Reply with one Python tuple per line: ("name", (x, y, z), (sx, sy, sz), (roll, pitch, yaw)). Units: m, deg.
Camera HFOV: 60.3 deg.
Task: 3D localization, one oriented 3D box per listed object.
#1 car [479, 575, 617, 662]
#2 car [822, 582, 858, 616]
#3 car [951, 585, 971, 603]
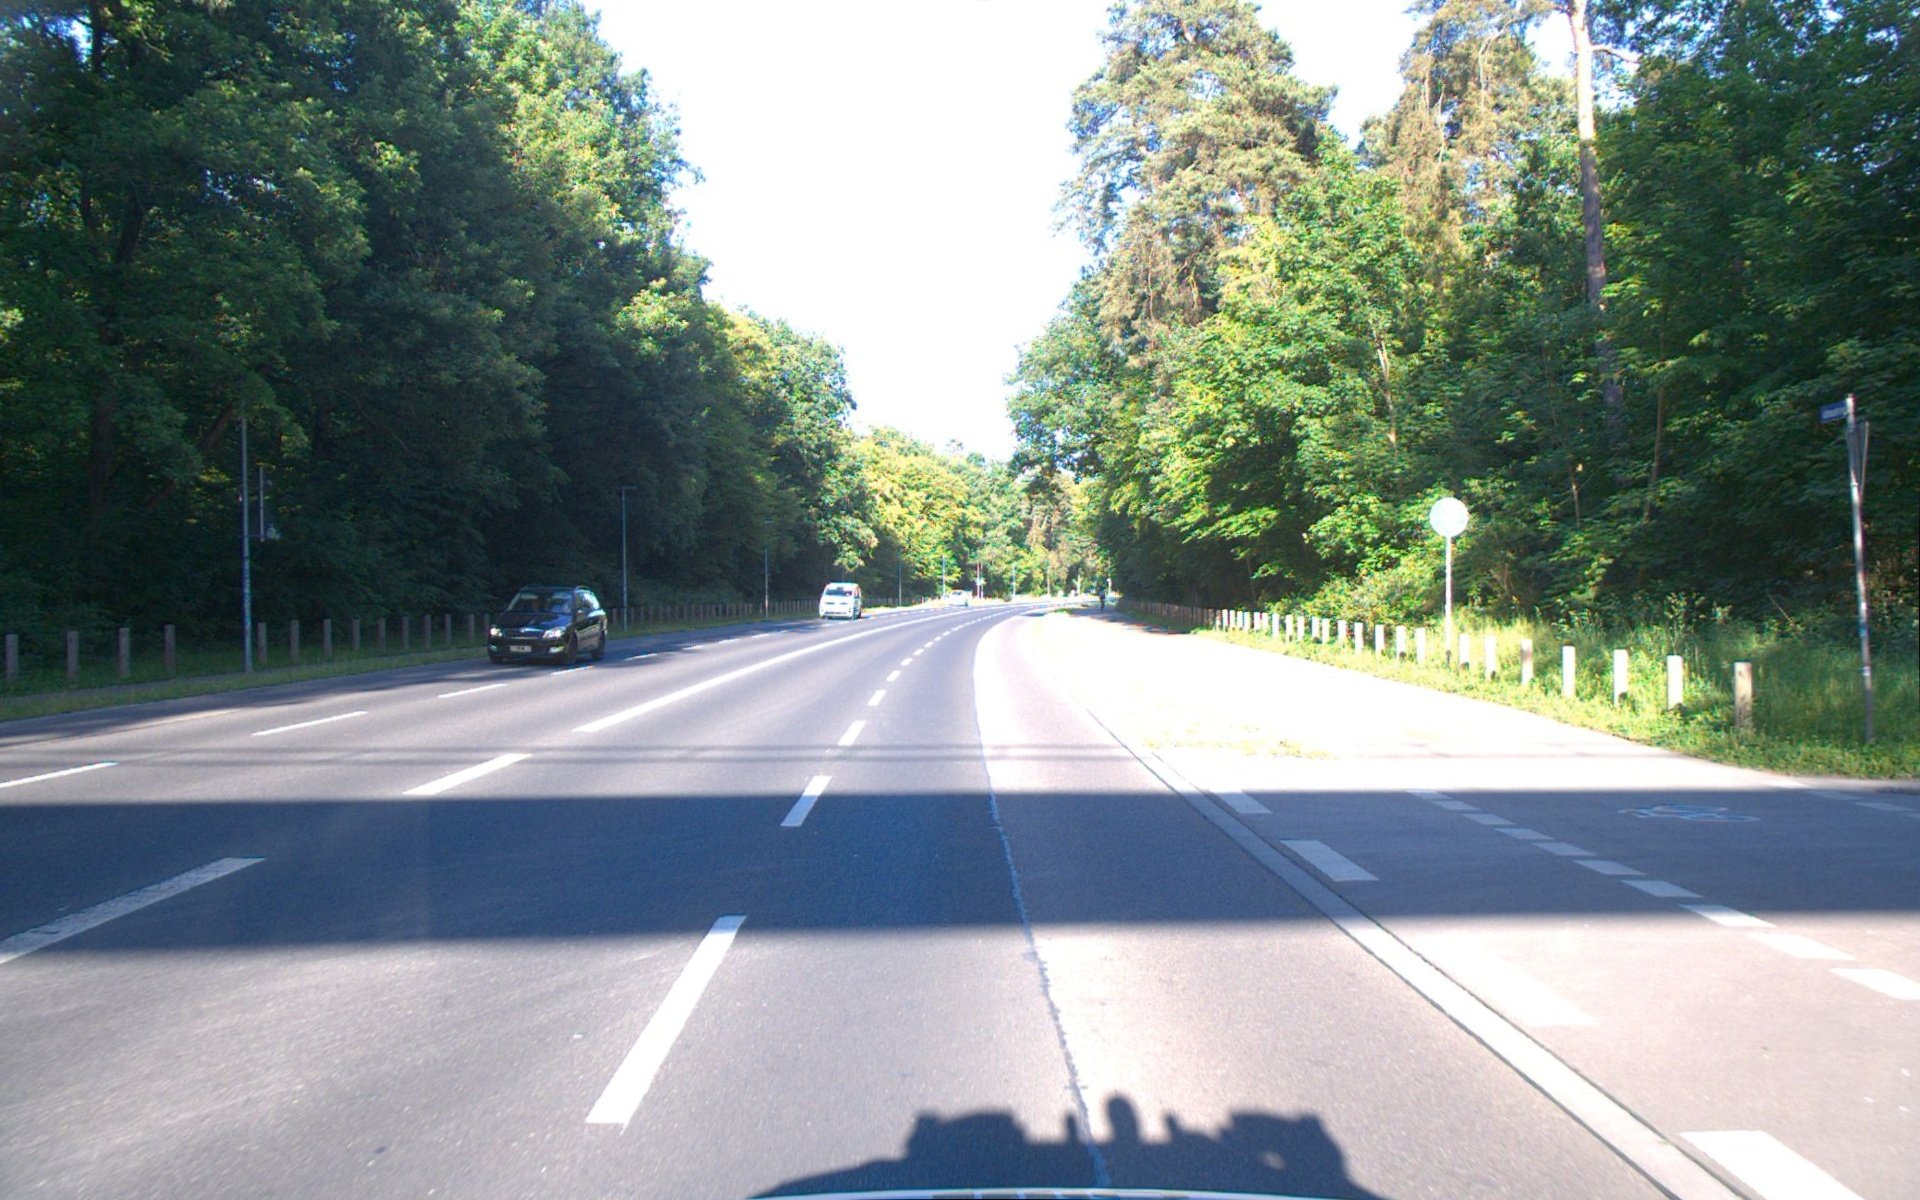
("car", (-8.206, 0.328, 33.303), (1.687, 1.601, 4.177), (2, 0, 0))
("car", (-6.187, -0.056, 85.457), (1.670, 1.739, 3.999), (0, 0, -1))
("car", (0.103, -0.564, 161.623), (1.746, 1.739, 4.002), (0, 0, 4))
